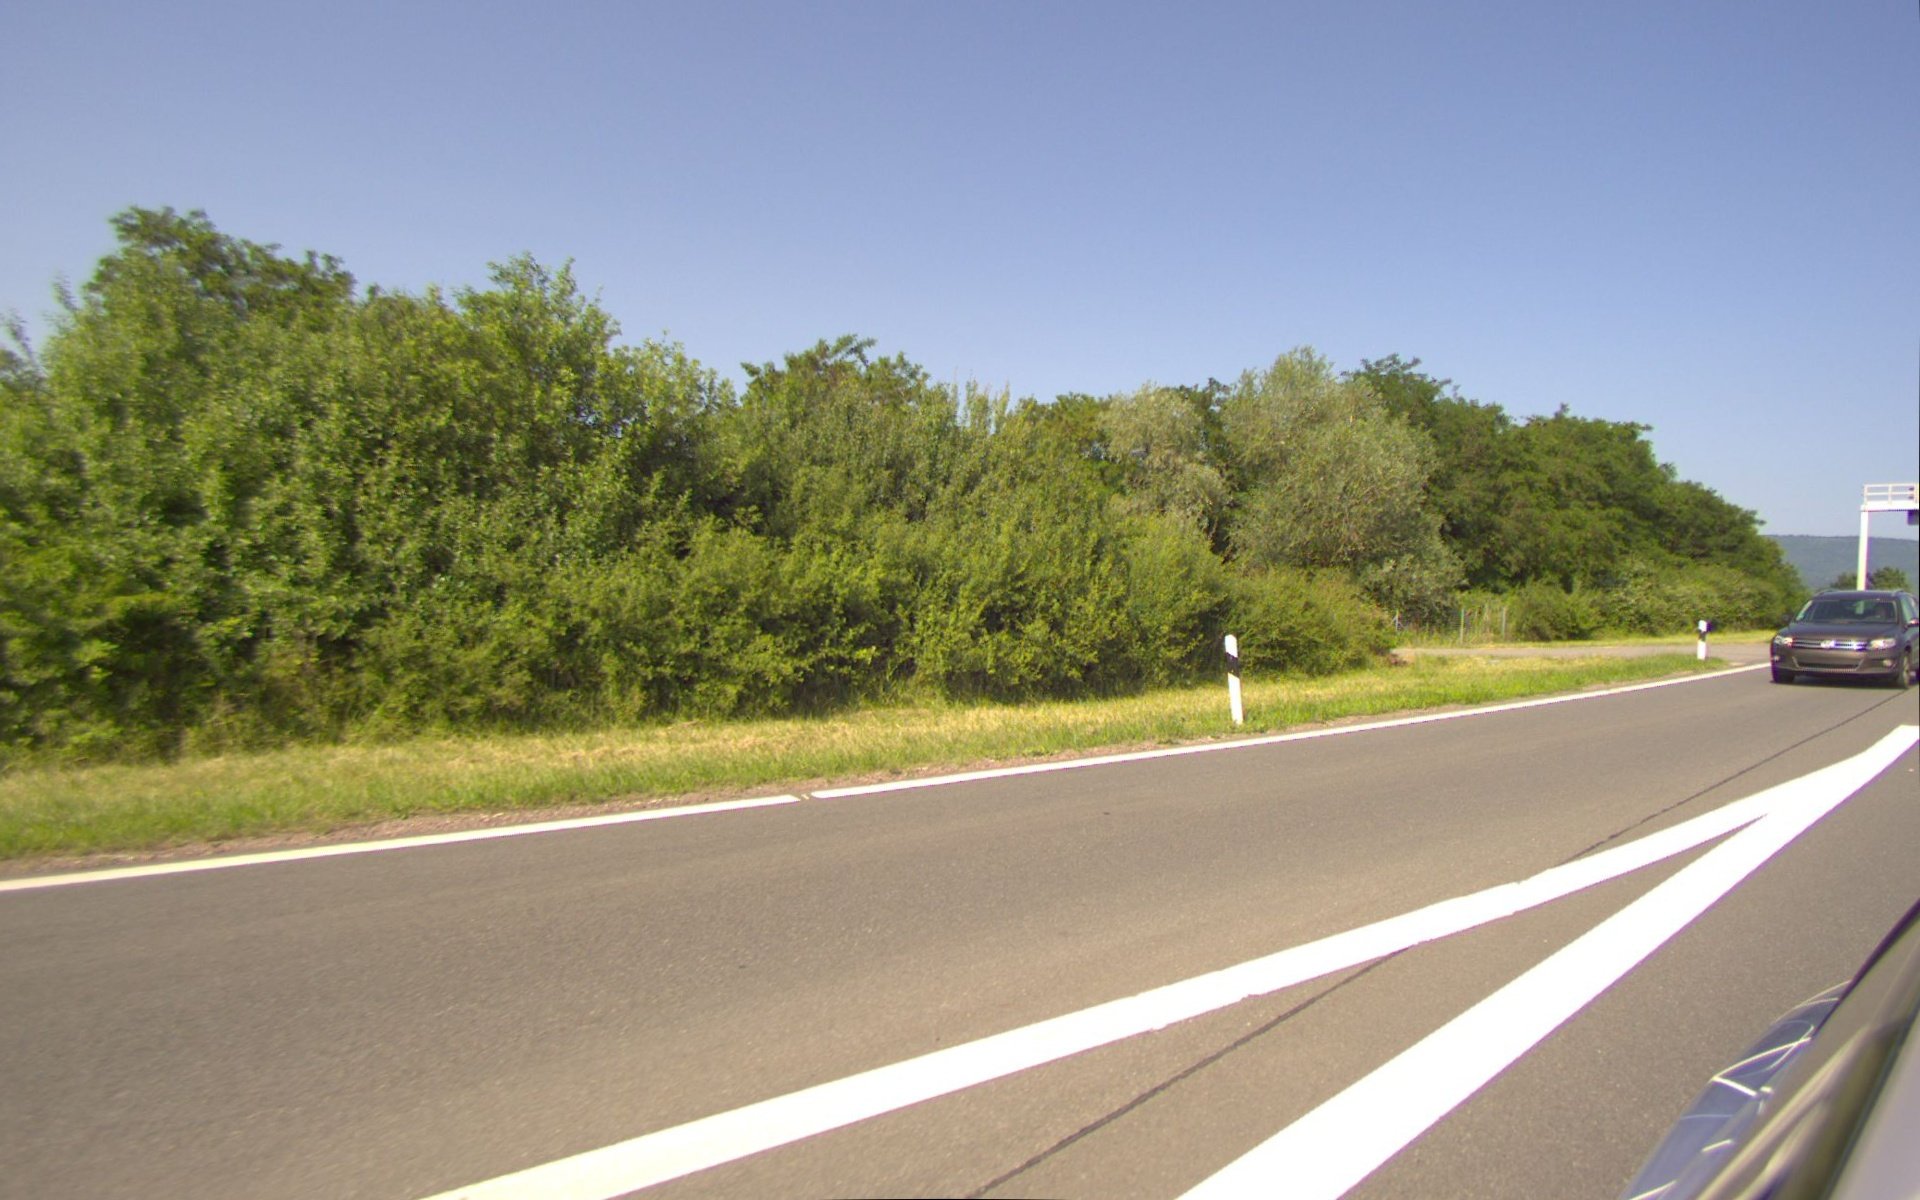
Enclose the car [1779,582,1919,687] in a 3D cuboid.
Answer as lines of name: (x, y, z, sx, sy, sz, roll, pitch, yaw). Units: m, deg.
car: (16.327, 0.564, 18.121, 4.073, 1.667, 1.789, 1, 0, -39)
